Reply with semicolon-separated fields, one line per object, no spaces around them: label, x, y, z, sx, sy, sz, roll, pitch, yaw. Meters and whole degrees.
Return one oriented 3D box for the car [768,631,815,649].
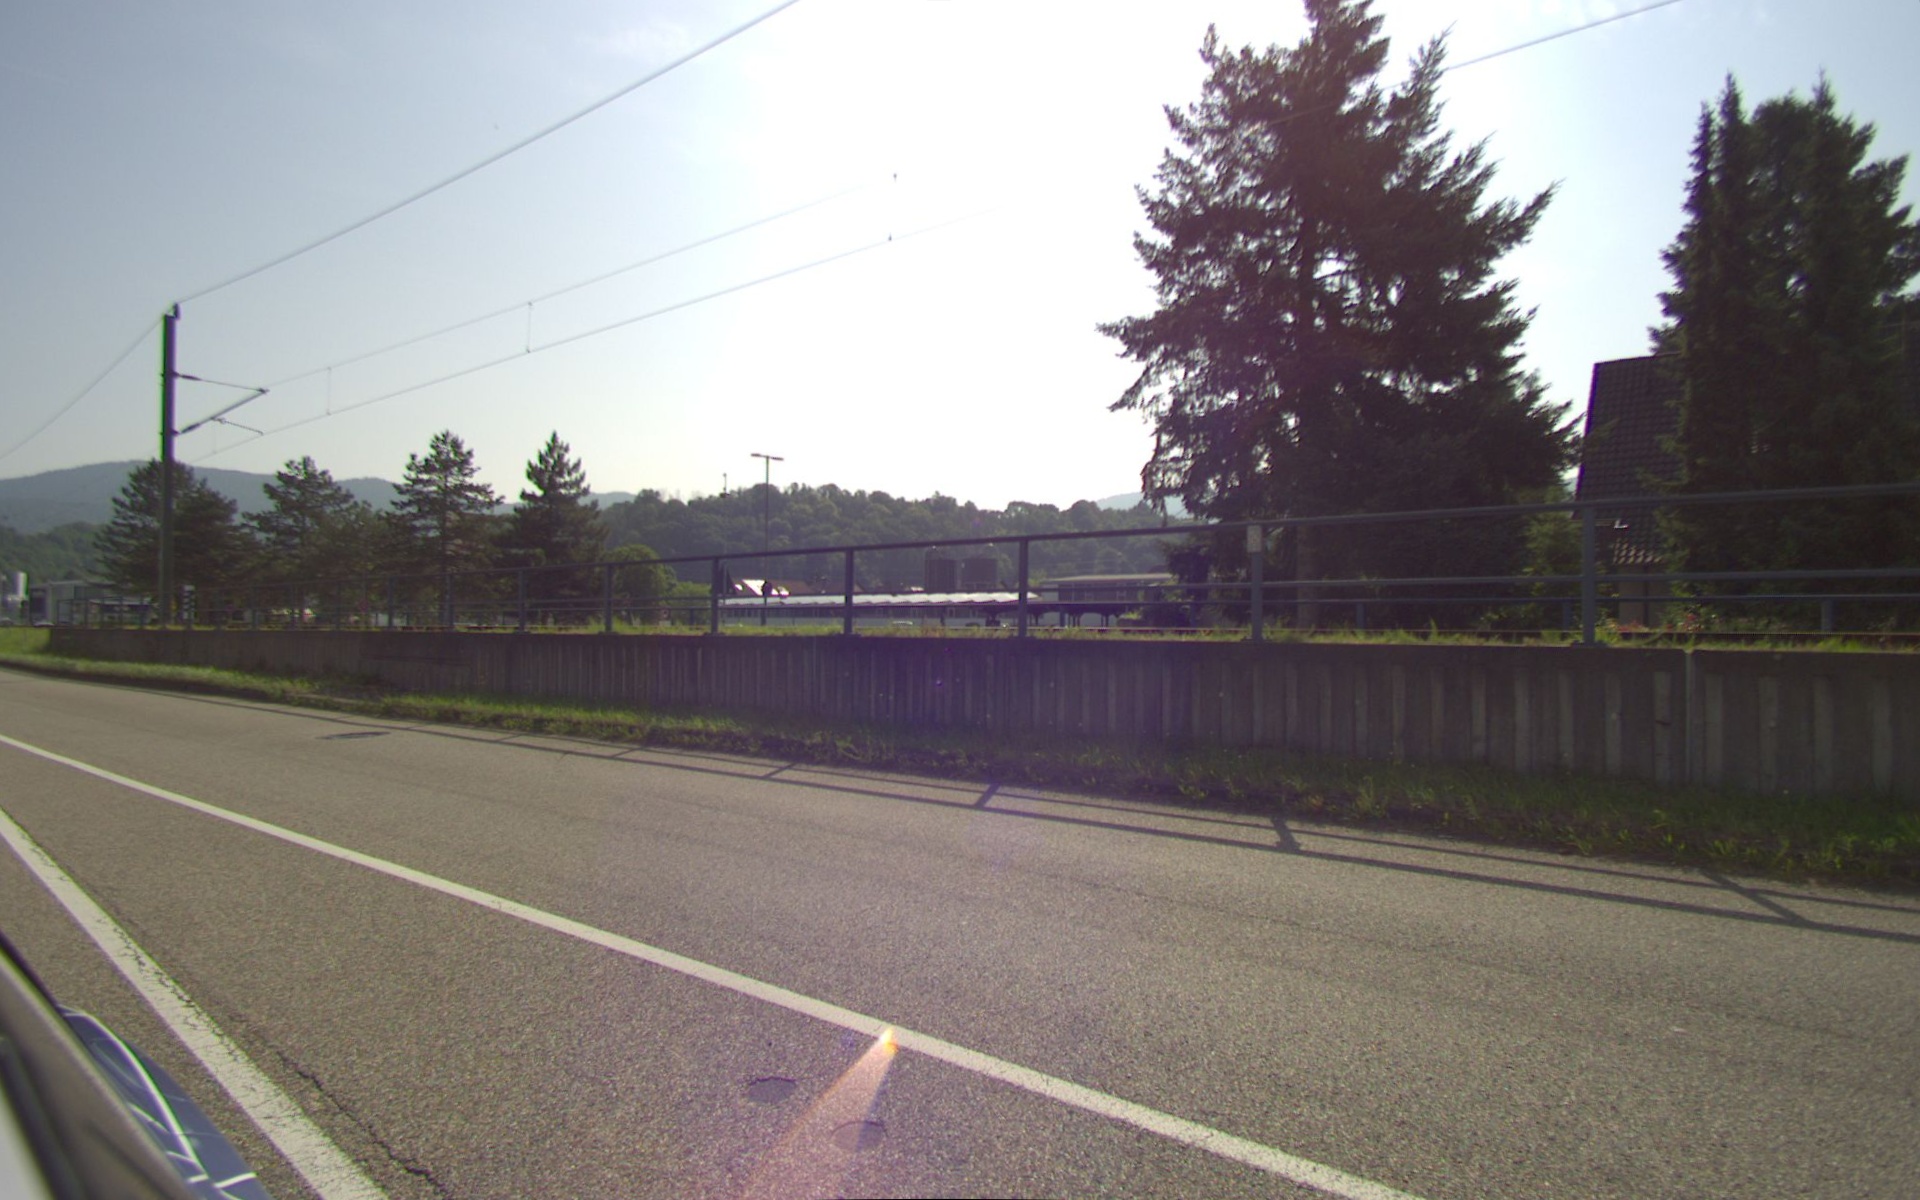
car;-13.158;3.100;78.963;3.476;1.335;1.462;1;-2;-18

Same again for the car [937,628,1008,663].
car;0.667;2.205;49.872;1.811;1.548;3.958;-1;-1;31

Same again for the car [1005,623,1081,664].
car;3.728;1.888;45.040;1.811;1.678;3.958;-1;-1;31

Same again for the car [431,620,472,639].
car;-36.371;2.108;72.427;1.495;1.368;3.526;1;-2;-7

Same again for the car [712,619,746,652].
car;-12.529;1.898;54.744;1.618;1.701;3.816;1;-2;-15

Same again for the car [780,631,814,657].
car;-8.496;2.258;52.509;1.433;1.335;3.546;1;-2;-14

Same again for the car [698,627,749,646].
car;-17.262;2.692;73.927;3.476;1.335;1.462;1;-2;-18

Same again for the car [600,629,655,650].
car;-22.262;2.636;67.813;3.476;1.335;1.462;1;-2;-18

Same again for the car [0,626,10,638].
car;-148.828;4.959;156.684;4.356;1.701;1.507;-1;0;32
